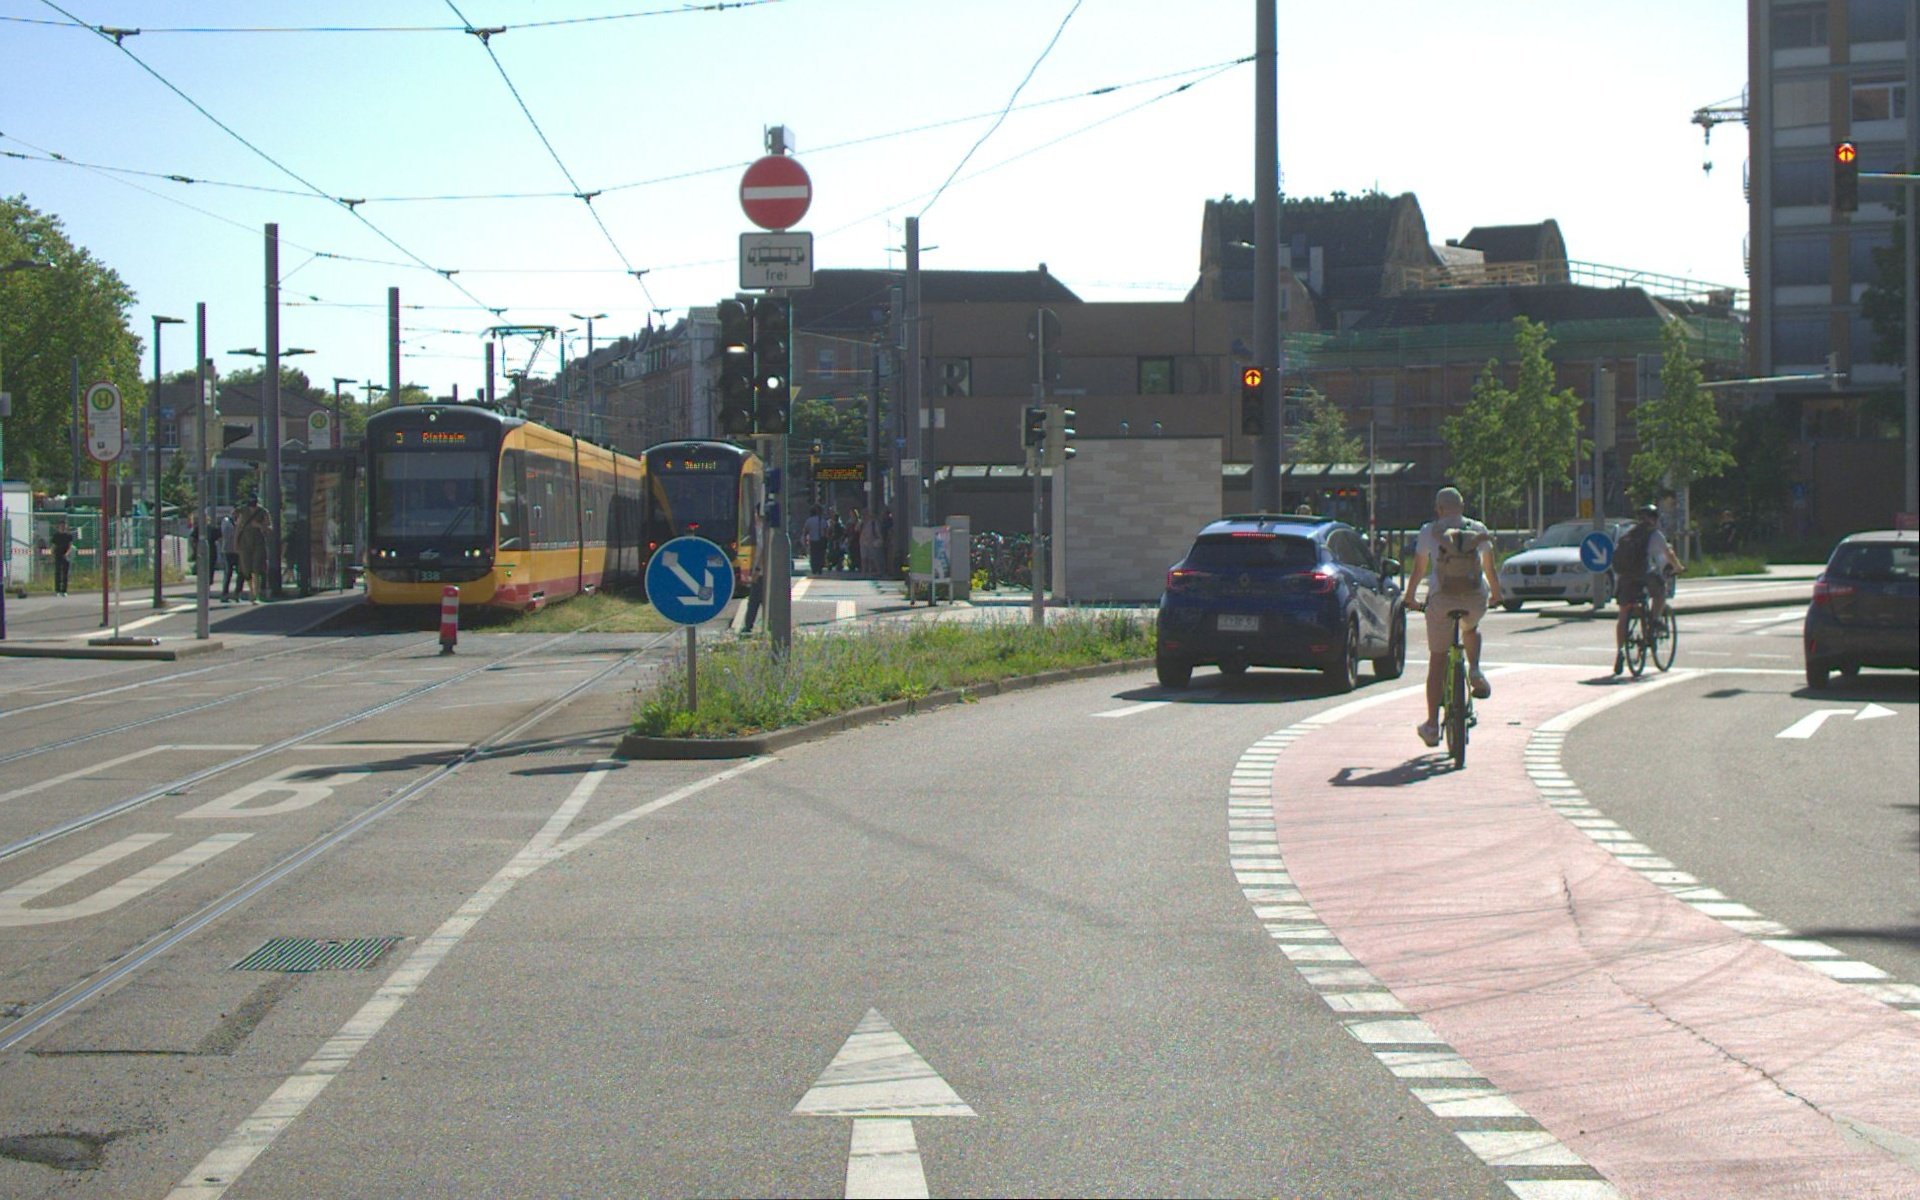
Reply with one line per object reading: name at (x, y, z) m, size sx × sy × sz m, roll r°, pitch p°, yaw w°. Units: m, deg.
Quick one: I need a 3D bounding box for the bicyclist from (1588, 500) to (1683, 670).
bicyclist at (6.930, -0.170, 35.267) m, size 0.706 × 1.694 × 0.986 m, roll 3°, pitch 2°, yaw 23°

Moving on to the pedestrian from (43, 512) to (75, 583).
pedestrian at (-21.666, -1.263, 82.672) m, size 0.626 × 1.691 × 0.662 m, roll 0°, pitch 1°, yaw -3°

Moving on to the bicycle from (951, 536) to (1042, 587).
bicycle at (0.798, -0.854, 75.255) m, size 1.933 × 1.099 × 0.599 m, roll 0°, pitch 1°, yaw -4°

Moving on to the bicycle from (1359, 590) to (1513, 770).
bicycle at (3.203, 0.513, 23.007) m, size 0.705 × 1.101 × 1.716 m, roll 2°, pitch 2°, yaw 18°

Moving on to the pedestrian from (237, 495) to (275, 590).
pedestrian at (-13.552, -1.107, 66.179) m, size 0.626 × 1.821 × 0.662 m, roll 0°, pitch 1°, yaw -3°

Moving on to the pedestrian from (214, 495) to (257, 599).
pedestrian at (-12.729, -0.933, 60.417) m, size 0.626 × 1.821 × 0.662 m, roll 0°, pitch 1°, yaw -3°

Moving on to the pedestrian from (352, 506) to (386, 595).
pedestrian at (-12.207, -1.021, 71.020) m, size 0.626 × 1.821 × 0.662 m, roll 0°, pitch 1°, yaw -3°

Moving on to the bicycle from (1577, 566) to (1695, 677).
bicycle at (6.988, 0.202, 35.457) m, size 0.706 × 1.051 × 2.311 m, roll 3°, pitch 2°, yaw 23°

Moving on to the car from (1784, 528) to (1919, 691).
car at (9.308, 0.058, 33.924) m, size 1.791 × 1.506 × 3.709 m, roll 2°, pitch 2°, yaw 21°

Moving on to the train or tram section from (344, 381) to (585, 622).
train or tram section at (-8.248, -1.675, 58.950) m, size 2.742 × 3.639 × 13.788 m, roll 0°, pitch 2°, yaw -3°

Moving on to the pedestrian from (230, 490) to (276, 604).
pedestrian at (-11.405, -0.852, 55.446) m, size 0.626 × 1.821 × 0.662 m, roll 0°, pitch 1°, yaw -3°

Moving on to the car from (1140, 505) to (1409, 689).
car at (3.043, -0.069, 32.616) m, size 1.790 × 1.599 × 3.710 m, roll 1°, pitch 2°, yaw 17°

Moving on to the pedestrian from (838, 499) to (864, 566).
pedestrian at (-3.166, -1.961, 99.874) m, size 0.660 × 1.946 × 0.629 m, roll 0°, pitch 1°, yaw -14°

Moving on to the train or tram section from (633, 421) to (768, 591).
train or tram section at (-5.946, -2.200, 80.668) m, size 2.742 × 3.639 × 13.788 m, roll 0°, pitch 2°, yaw -3°

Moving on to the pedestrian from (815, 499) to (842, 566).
pedestrian at (-3.812, -1.956, 99.389) m, size 0.660 × 1.946 × 0.629 m, roll 0°, pitch 1°, yaw -14°

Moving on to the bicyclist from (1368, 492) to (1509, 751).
bicyclist at (3.208, 0.124, 22.986) m, size 0.705 × 1.669 × 1.100 m, roll 2°, pitch 2°, yaw 18°

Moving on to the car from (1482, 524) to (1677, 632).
car at (9.943, -0.375, 55.018) m, size 1.705 × 1.638 × 3.705 m, roll 2°, pitch 2°, yaw 33°

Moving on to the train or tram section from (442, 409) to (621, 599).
train or tram section at (-8.824, -2.006, 72.100) m, size 2.742 × 3.639 × 12.546 m, roll 0°, pitch 2°, yaw -3°
